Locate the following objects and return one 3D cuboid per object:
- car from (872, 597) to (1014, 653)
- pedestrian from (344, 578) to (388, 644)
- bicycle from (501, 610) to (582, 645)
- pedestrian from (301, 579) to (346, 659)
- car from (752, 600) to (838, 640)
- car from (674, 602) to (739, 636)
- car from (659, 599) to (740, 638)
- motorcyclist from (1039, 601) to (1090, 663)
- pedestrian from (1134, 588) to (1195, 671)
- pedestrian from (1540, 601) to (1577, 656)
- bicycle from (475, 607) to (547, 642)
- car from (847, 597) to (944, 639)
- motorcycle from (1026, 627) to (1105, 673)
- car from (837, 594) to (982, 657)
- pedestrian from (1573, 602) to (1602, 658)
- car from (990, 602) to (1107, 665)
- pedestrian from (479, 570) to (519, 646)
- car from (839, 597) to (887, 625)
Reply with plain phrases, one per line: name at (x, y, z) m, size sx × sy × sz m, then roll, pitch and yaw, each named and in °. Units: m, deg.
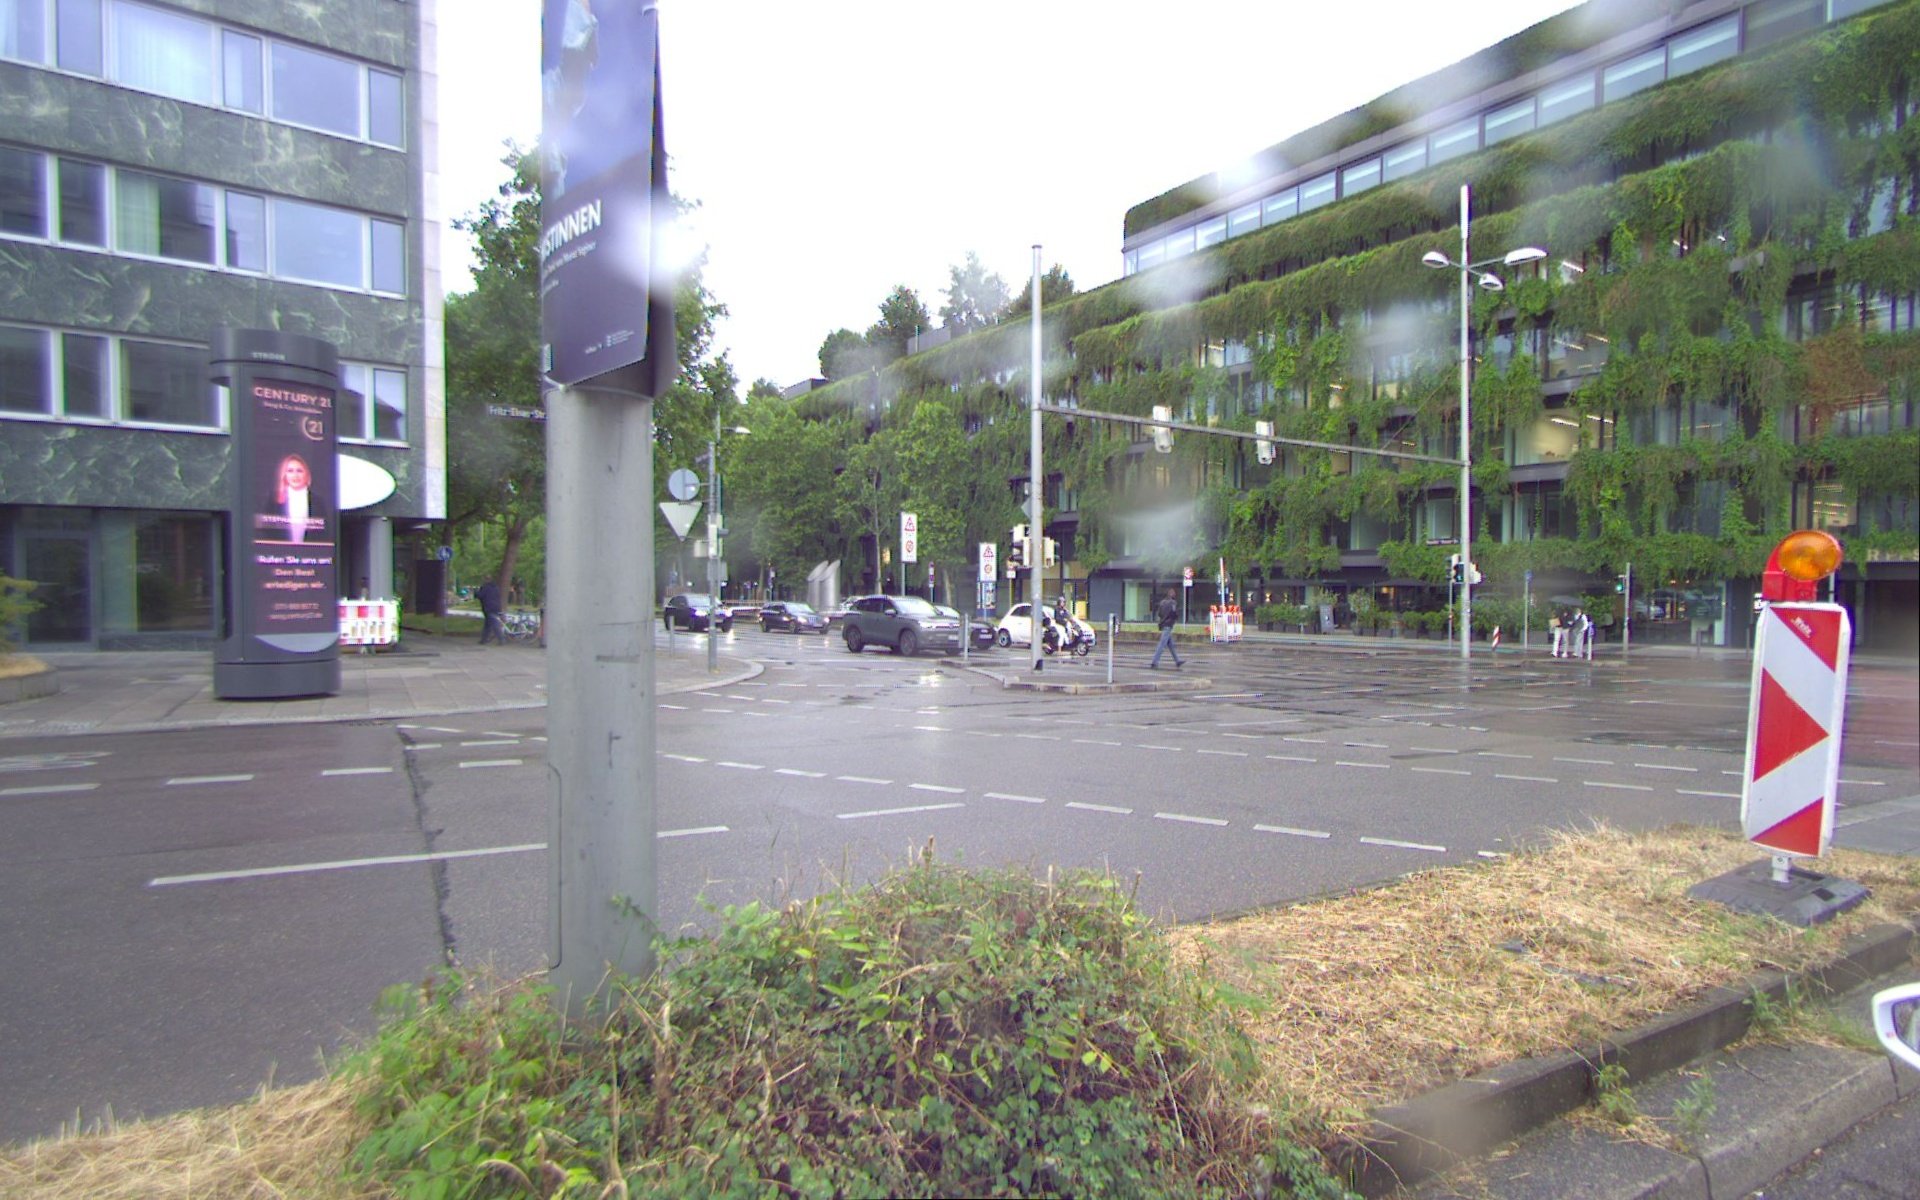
car at (-0.629, 0.767, 32.780) m, size 1.957 × 1.674 × 4.755 m, roll 1°, pitch 0°, yaw -43°
pedestrian at (-15.036, 0.295, 25.441) m, size 0.912 × 1.606 × 0.828 m, roll 1°, pitch -4°, yaw -30°
bicycle at (-12.124, 0.802, 29.153) m, size 2.170 × 0.967 × 0.423 m, roll 2°, pitch -1°, yaw -44°
pedestrian at (-15.390, 0.476, 24.284) m, size 0.868 × 1.878 × 1.015 m, roll 1°, pitch -4°, yaw -34°
car at (-7.538, 0.893, 45.726) m, size 1.986 × 1.674 × 4.050 m, roll 3°, pitch -1°, yaw -42°
car at (-13.713, 1.020, 54.293) m, size 1.805 × 1.674 × 4.053 m, roll 3°, pitch -1°, yaw -40°
car at (-12.149, 0.826, 46.704) m, size 1.986 × 1.674 × 4.050 m, roll 3°, pitch -1°, yaw -42°
motorcyclist at (3.026, 0.908, 29.051) m, size 1.173 × 1.725 × 0.843 m, roll 1°, pitch 0°, yaw 44°
pedestrian at (4.833, 0.690, 23.745) m, size 1.225 × 1.910 × 0.685 m, roll 1°, pitch 2°, yaw -34°
pedestrian at (19.919, 0.951, 33.423) m, size 0.923 × 1.781 × 1.167 m, roll 1°, pitch 0°, yaw 37°
bicycle at (-12.391, 0.674, 27.767) m, size 1.773 × 0.946 × 0.473 m, roll 1°, pitch 0°, yaw -21°
car at (-2.593, 0.676, 39.676) m, size 1.858 × 1.543 × 3.855 m, roll 1°, pitch 0°, yaw -42°
motorcycle at (3.030, 1.412, 29.041) m, size 2.204 × 1.227 × 0.843 m, roll 1°, pitch 0°, yaw 44°
car at (-1.517, 0.687, 29.053) m, size 1.985 × 1.674 × 4.186 m, roll 1°, pitch 0°, yaw -42°
pedestrian at (20.525, 0.959, 32.854) m, size 0.731 × 1.781 × 0.972 m, roll 1°, pitch 0°, yaw 37°
car at (2.904, 1.064, 33.245) m, size 1.985 × 1.948 × 3.417 m, roll 1°, pitch 0°, yaw -42°
pedestrian at (-11.949, 0.229, 26.042) m, size 0.887 × 1.909 × 0.781 m, roll 1°, pitch -4°, yaw -30°
car at (-7.509, 0.829, 77.294) m, size 1.979 × 2.040 × 4.073 m, roll 1°, pitch -1°, yaw -34°
